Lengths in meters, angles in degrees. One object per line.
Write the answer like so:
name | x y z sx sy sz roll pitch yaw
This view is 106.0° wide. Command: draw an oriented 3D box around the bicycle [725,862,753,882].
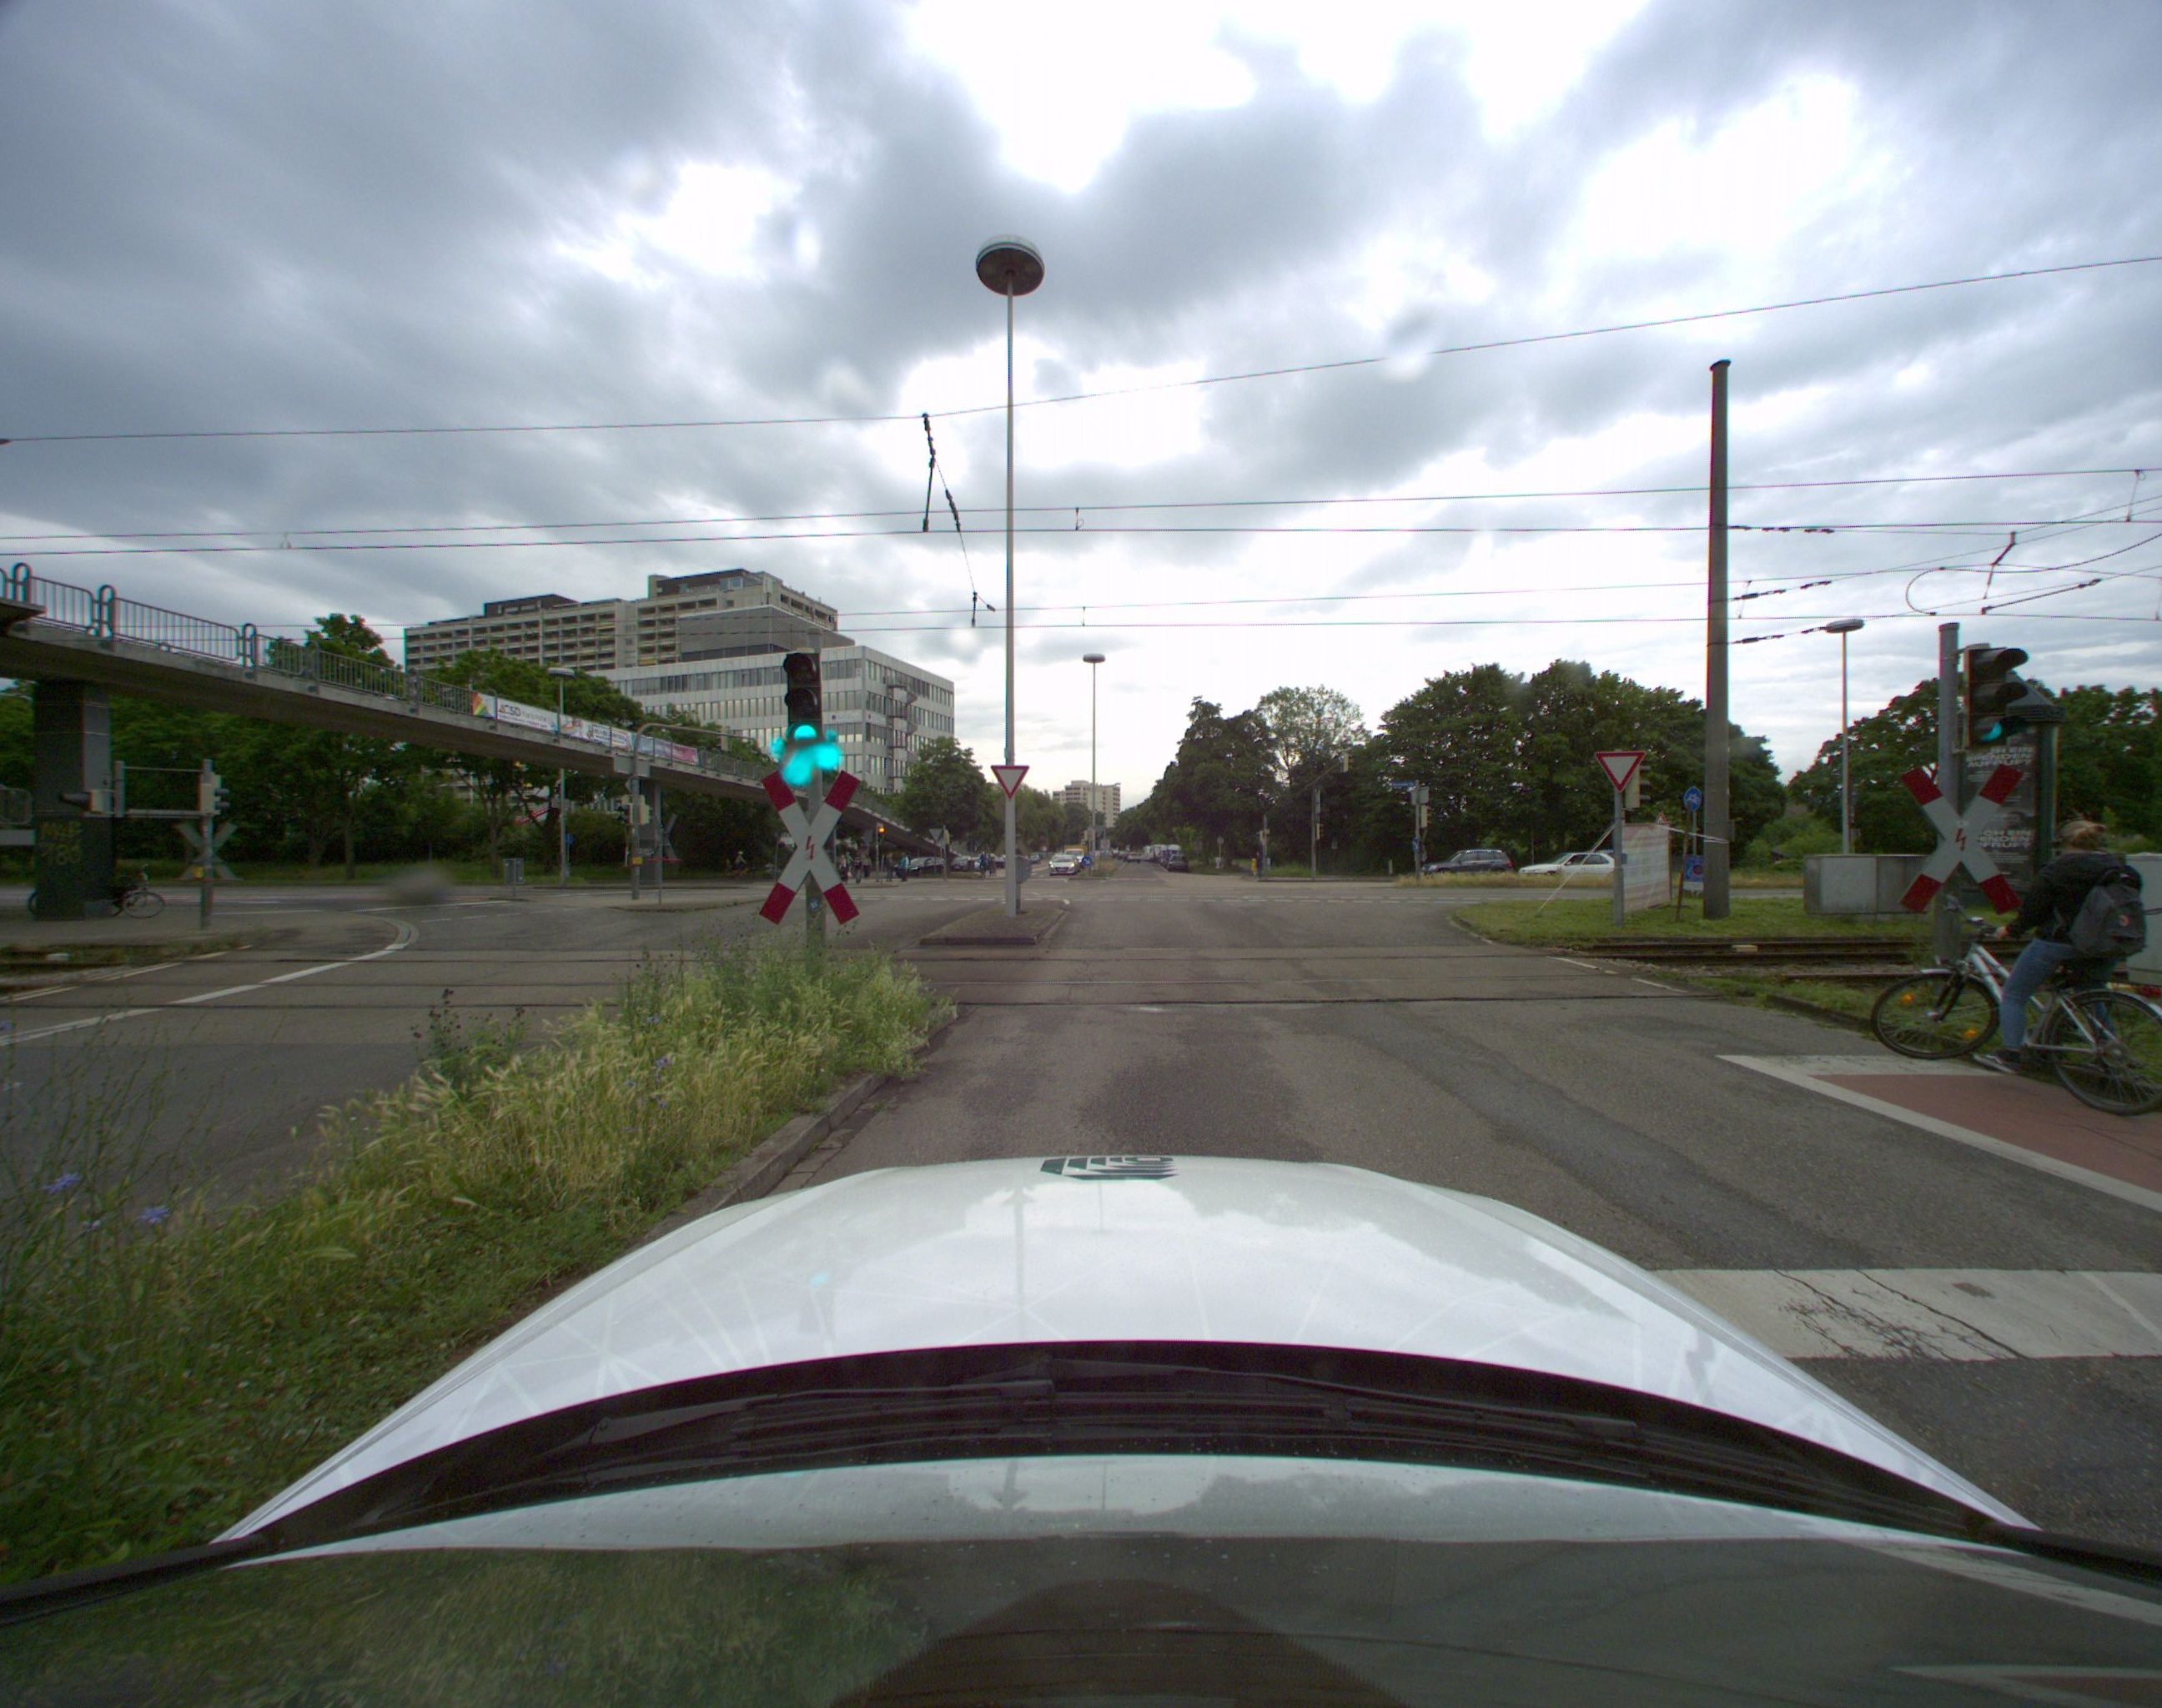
bicycle | -22.789 1.223 54.307 1.711 1.304 0.386 0 0 -23

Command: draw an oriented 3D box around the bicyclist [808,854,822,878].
bicyclist | -18.203 0.826 55.647 0.521 1.625 0.755 0 0 37

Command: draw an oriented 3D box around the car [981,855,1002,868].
car | -10.226 0.853 93.390 1.757 1.395 4.002 0 0 2

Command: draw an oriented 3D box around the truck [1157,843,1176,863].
truck | 12.536 -0.111 120.011 1.988 2.838 5.727 0 0 -2

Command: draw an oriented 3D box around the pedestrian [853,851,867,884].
pedestrian | -12.033 0.729 44.353 0.636 1.803 0.800 0 0 -7

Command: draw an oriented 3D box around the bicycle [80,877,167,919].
bicycle | -21.721 0.991 18.473 2.017 0.921 0.375 0 0 13

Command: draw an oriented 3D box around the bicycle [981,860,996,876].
bicycle | -6.590 0.985 57.986 0.724 1.101 2.265 0 0 2

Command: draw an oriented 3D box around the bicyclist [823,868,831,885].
bicyclist | -17.464 1.548 56.008 0.403 1.181 0.378 0 0 4

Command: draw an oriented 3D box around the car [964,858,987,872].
car | -10.836 1.121 83.609 1.665 1.387 3.898 0 0 3

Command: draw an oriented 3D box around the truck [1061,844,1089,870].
truck | -0.519 0.227 72.186 2.147 2.199 5.844 0 0 3

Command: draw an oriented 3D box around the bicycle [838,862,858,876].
bicycle | -16.725 1.077 58.569 0.628 0.925 2.524 0 0 2

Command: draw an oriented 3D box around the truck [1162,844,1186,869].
truck | 10.304 0.257 90.692 2.166 2.656 6.249 -1 -1 2

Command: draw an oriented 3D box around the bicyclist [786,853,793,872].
bicyclist | -20.345 0.597 56.837 0.275 1.303 0.386 0 0 34

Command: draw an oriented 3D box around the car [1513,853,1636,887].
car | 20.485 0.653 33.922 4.120 1.357 1.648 0 0 2

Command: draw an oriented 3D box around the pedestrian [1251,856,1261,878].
pedestrian | 10.716 0.779 49.871 0.525 1.342 0.525 0 0 1

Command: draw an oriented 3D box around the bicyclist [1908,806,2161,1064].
bicyclist | 5.966 0.460 5.057 0.619 1.424 0.961 4 0 1

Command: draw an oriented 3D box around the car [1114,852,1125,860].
car | 7.282 0.313 152.639 2.013 1.505 4.002 0 0 2

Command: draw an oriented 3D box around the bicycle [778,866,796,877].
bicycle | -20.454 1.206 56.667 0.286 0.692 1.306 0 0 33

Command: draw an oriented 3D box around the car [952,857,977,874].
car | -11.183 1.059 78.118 1.665 1.552 3.894 0 0 3

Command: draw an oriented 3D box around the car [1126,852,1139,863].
car | 8.665 0.626 137.158 1.986 1.764 4.001 0 -1 2

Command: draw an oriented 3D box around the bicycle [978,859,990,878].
bicycle | -6.641 0.963 55.782 0.541 1.267 2.112 0 0 2

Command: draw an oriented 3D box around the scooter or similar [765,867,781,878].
scooter or similar | -21.061 1.255 55.703 0.401 0.715 1.003 0 0 35

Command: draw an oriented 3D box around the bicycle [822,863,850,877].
bicycle | -16.892 1.088 56.175 0.755 0.949 1.964 0 0 23

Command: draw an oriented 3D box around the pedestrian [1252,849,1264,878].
pedestrian | 10.673 0.592 49.112 0.654 1.750 0.459 0 0 1

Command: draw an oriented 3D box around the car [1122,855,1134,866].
car | 8.130 1.140 142.437 2.013 1.958 4.002 0 0 2

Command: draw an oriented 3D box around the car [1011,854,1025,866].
car | -8.418 0.816 108.805 1.439 1.552 3.666 0 0 2

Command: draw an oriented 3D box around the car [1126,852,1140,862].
car | 8.094 0.498 125.976 2.013 1.505 4.002 0 0 2

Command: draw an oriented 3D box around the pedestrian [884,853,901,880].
pedestrian | -10.712 0.720 46.250 0.917 1.511 0.402 0 0 -10

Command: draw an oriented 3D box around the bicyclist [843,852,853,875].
bicyclist | -16.754 0.680 58.608 0.563 1.644 0.532 0 -1 2

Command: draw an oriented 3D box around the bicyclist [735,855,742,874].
bicyclist | -22.830 0.668 54.317 0.407 1.253 0.275 0 0 -23

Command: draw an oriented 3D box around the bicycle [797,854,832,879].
bicycle | -18.190 0.826 55.616 0.521 1.625 2.381 0 0 37

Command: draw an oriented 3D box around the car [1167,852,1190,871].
car | 8.819 0.663 73.915 1.777 1.662 4.002 0 0 2

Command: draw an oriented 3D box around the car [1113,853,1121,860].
car | 7.708 0.436 176.370 1.549 1.505 3.999 0 0 -1

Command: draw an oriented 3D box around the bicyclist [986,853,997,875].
bicyclist | -6.478 0.708 58.741 0.676 1.594 0.695 0 -1 1

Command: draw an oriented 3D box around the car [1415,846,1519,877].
car | 19.643 0.373 41.531 4.447 1.504 1.847 0 0 2

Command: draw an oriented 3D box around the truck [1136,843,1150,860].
truck | 10.835 -0.376 142.937 1.988 3.009 5.768 0 -1 -1

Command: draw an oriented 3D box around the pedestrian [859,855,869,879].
pedestrian | -13.925 0.824 52.220 0.580 1.579 0.777 0 0 -16

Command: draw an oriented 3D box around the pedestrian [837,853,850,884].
pedestrian | -12.760 0.782 43.803 0.619 1.691 0.403 0 0 -12

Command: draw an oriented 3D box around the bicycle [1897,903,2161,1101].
bicycle | 5.990 0.836 4.792 0.381 0.980 2.030 0 -1 2

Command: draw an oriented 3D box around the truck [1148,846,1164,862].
truck | 12.137 0.001 132.101 1.987 2.573 5.377 0 -1 0

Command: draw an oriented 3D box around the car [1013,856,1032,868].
car | -6.674 0.898 93.189 1.504 1.390 3.538 0 -1 6

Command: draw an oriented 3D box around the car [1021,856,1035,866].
car | -8.192 1.032 126.184 1.665 1.552 4.003 0 0 3

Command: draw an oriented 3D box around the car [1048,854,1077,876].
car | -1.276 0.746 58.103 1.782 1.519 4.327 0 0 2

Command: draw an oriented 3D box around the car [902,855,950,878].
car | -10.985 0.836 57.801 1.658 1.552 4.018 0 0 17

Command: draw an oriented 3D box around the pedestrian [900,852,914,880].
pedestrian | -9.883 0.674 46.214 0.685 1.605 0.487 0 0 -3

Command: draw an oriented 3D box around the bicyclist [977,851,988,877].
bicyclist | -6.672 0.664 55.342 0.642 1.768 0.647 0 0 1
